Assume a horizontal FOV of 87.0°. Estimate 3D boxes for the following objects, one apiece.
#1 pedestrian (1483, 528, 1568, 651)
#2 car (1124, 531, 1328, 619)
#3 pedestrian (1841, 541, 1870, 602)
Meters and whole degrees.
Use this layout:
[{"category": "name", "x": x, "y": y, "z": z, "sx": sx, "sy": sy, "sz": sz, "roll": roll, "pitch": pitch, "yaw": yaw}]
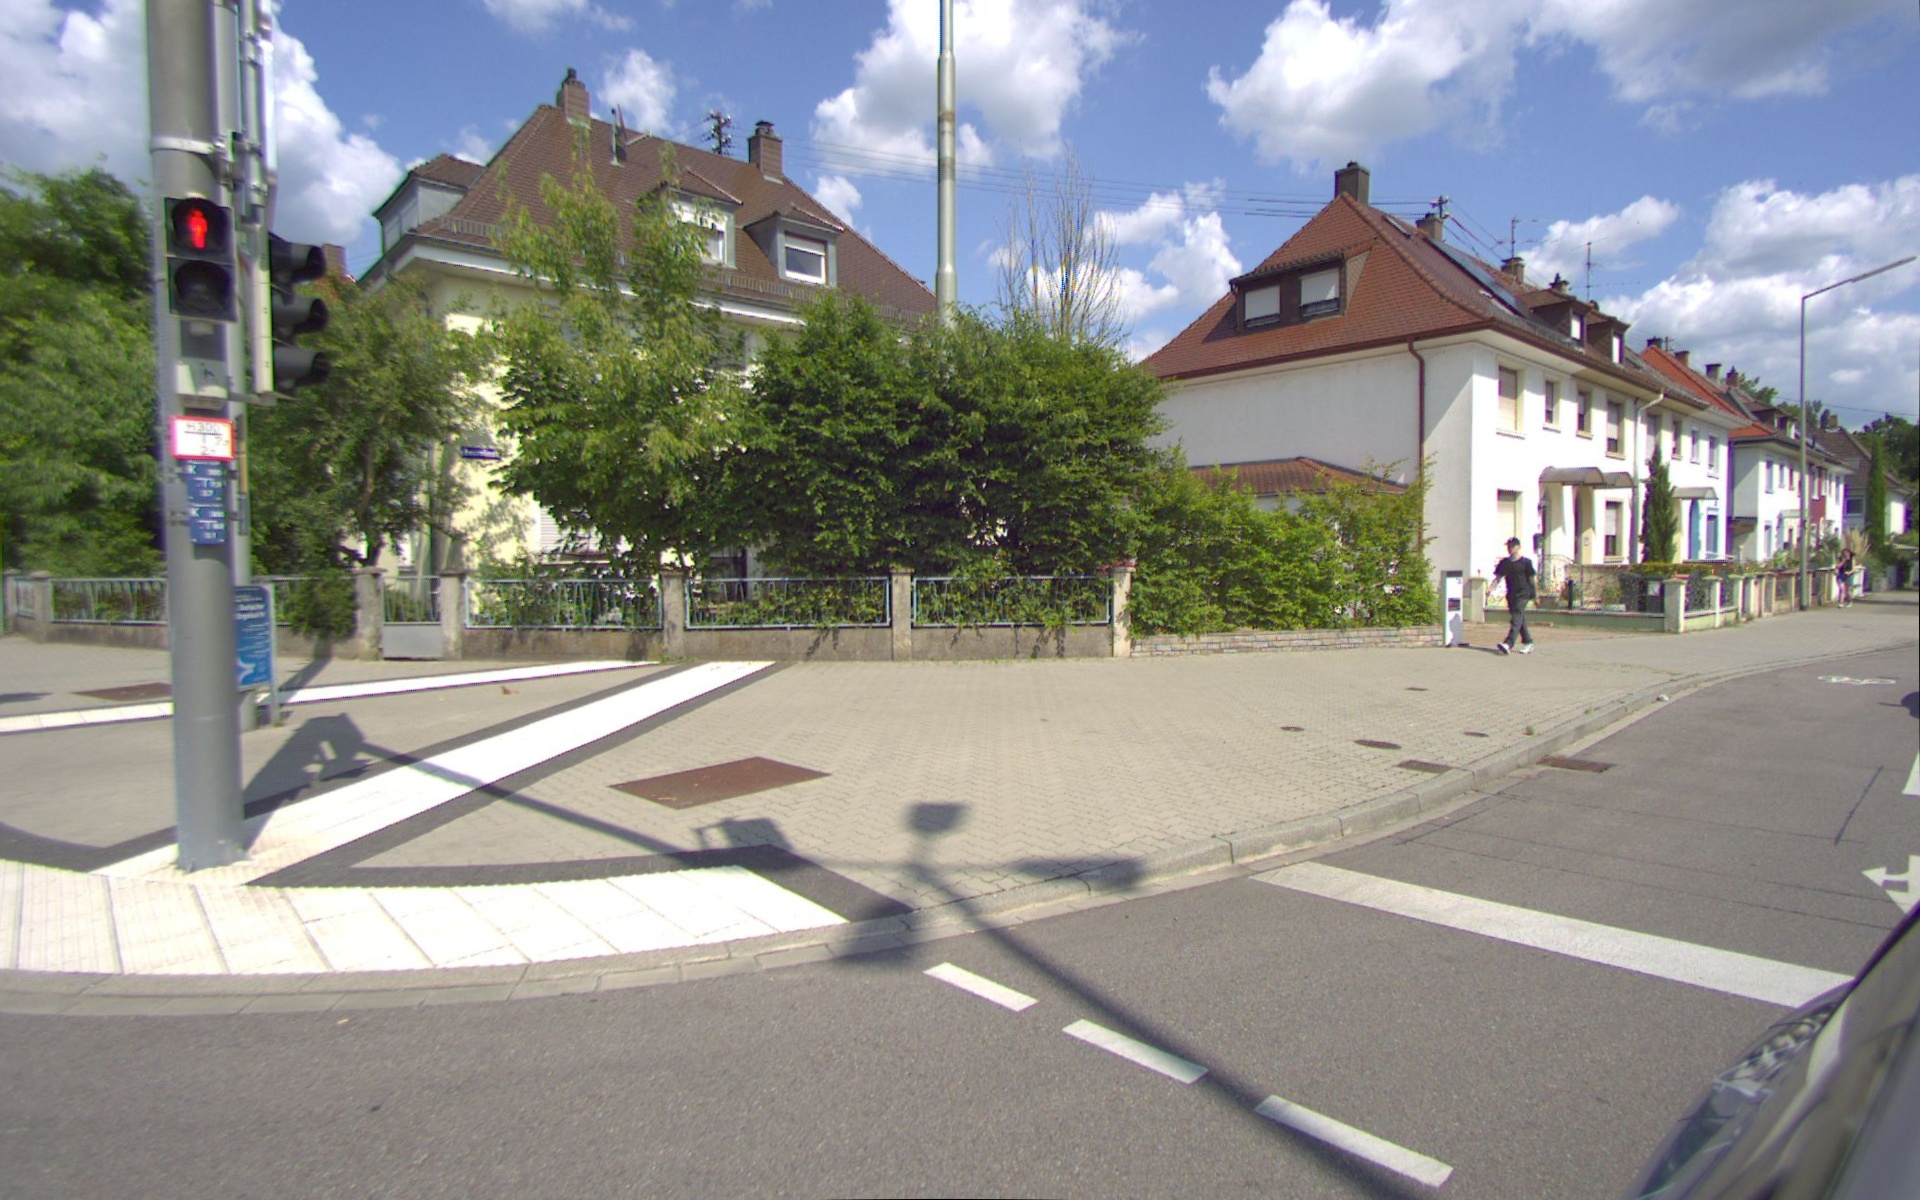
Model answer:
[{"category": "pedestrian", "x": 8.407, "y": -0.169, "z": 15.060, "sx": 0.918, "sy": 1.789, "sz": 0.594, "roll": 0, "pitch": 2, "yaw": -15}, {"category": "car", "x": 5.698, "y": -0.586, "z": 22.021, "sx": 1.835, "sy": 1.729, "sz": 3.996, "roll": -2, "pitch": 3, "yaw": -40}, {"category": "pedestrian", "x": 25.667, "y": -0.821, "z": 29.014, "sx": 0.607, "sy": 1.732, "sz": 0.518, "roll": -2, "pitch": 3, "yaw": -41}]
